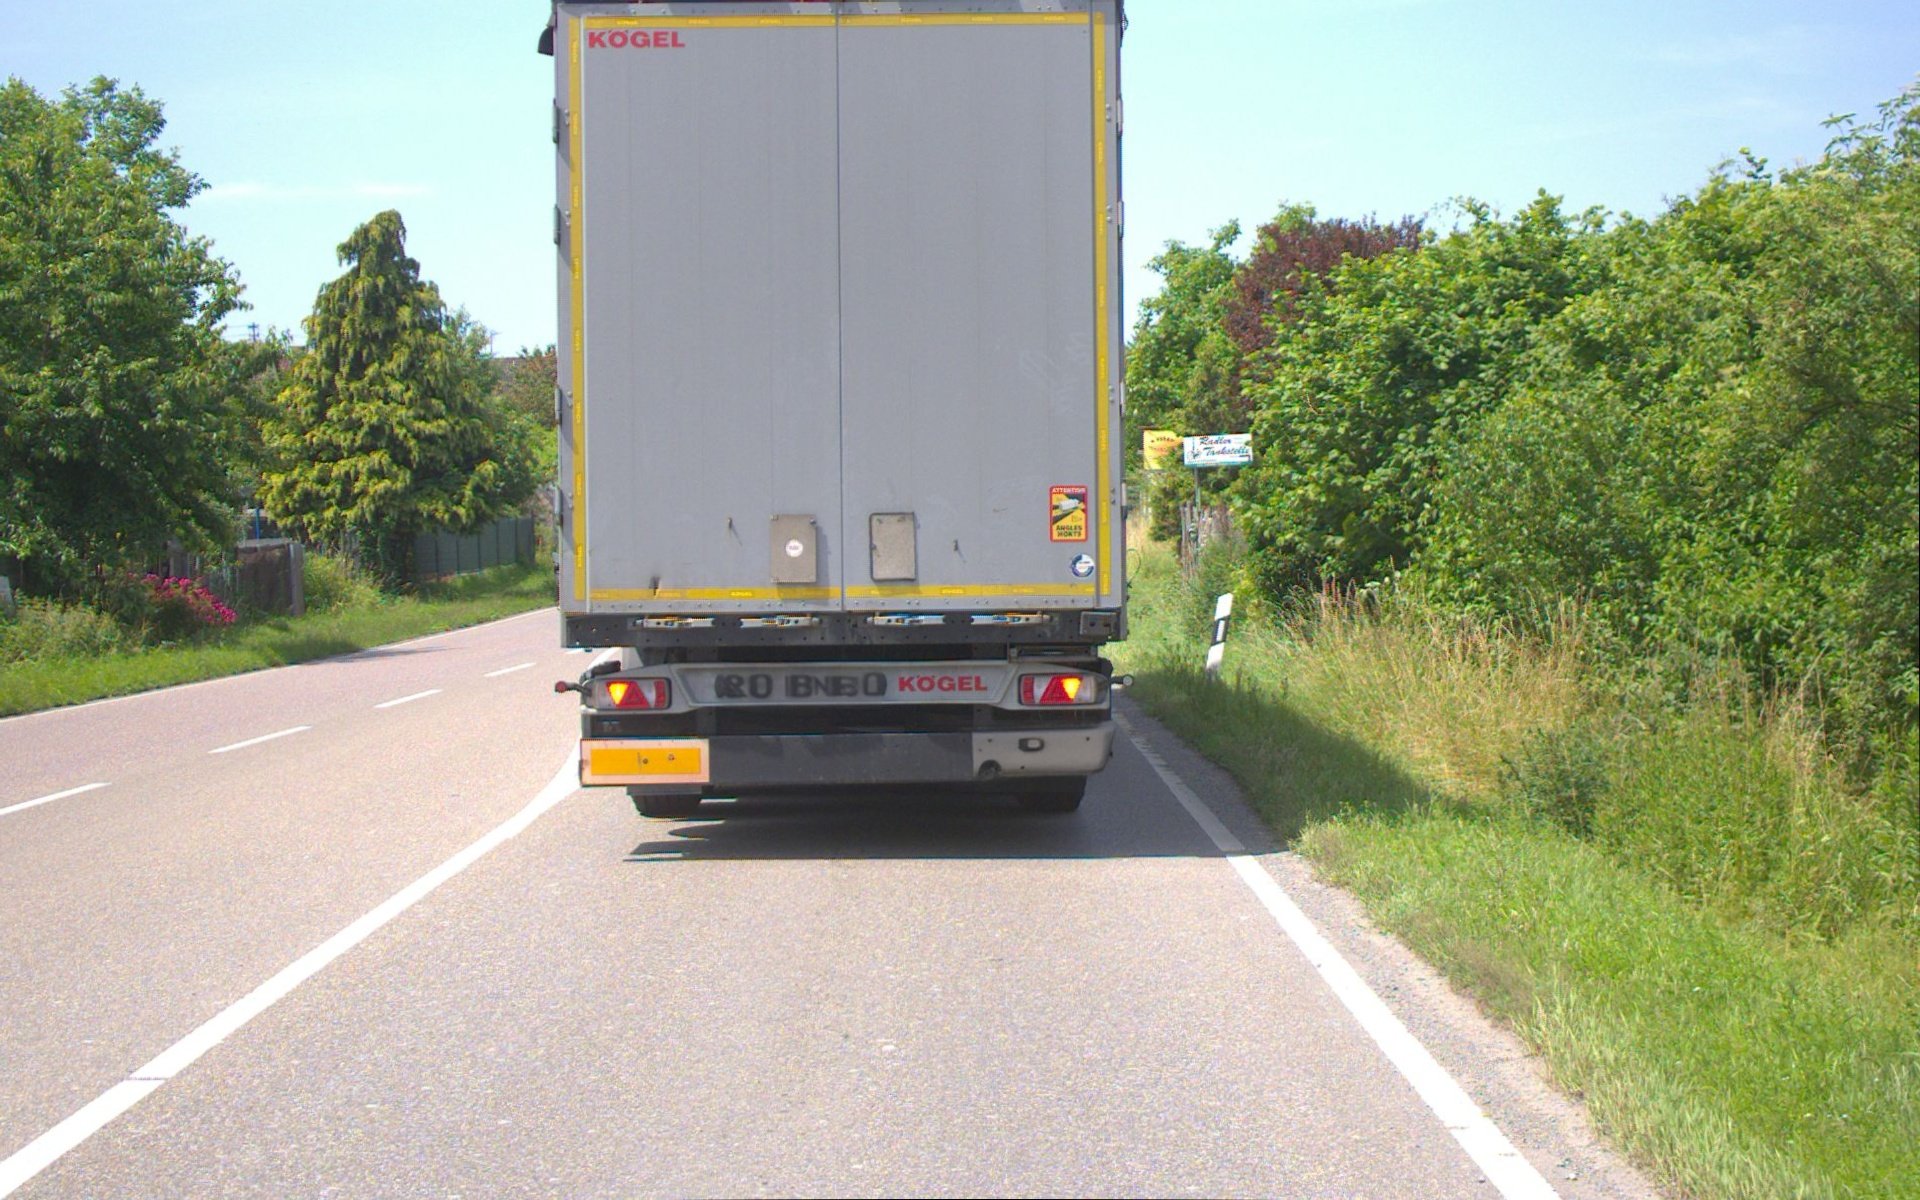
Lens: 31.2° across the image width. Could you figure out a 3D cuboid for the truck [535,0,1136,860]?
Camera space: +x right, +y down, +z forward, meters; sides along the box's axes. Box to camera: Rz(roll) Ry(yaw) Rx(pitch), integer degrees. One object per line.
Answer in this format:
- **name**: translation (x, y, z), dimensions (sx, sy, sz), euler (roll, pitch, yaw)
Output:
- **truck**: translation (-0.659, -0.888, 19.587), dimensions (2.647, 3.903, 8.826), euler (0, 1, -1)
